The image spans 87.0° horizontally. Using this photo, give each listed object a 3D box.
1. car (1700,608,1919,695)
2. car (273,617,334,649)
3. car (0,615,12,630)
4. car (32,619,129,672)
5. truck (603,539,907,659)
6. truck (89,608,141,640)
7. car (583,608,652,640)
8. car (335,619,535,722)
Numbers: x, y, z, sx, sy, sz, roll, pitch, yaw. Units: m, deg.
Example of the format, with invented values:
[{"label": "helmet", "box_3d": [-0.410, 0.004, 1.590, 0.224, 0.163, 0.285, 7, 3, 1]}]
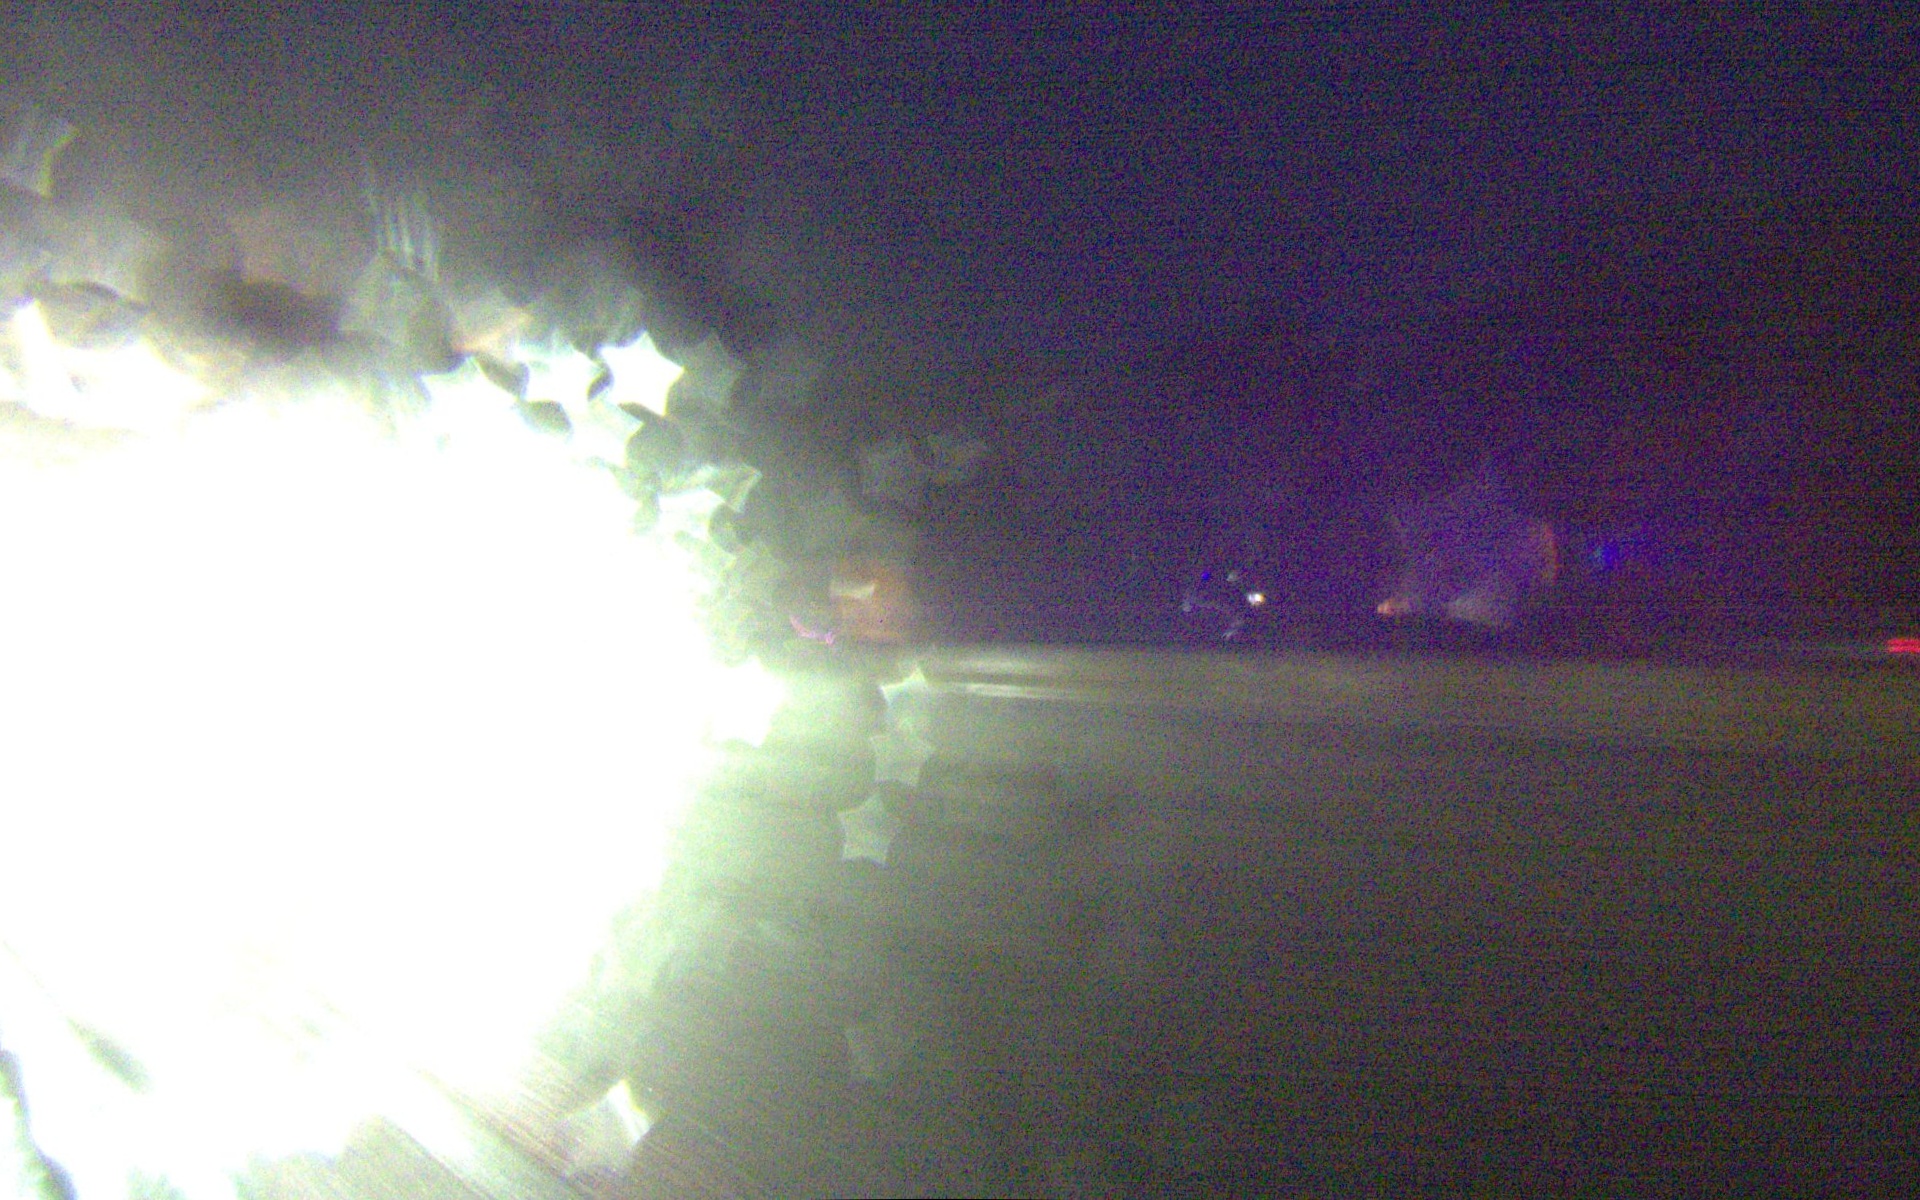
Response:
[{"label": "car", "box_3d": [18.028, 1.012, 20.803, 4.410, 1.611, 1.817, -1, 0, 41]}, {"label": "car", "box_3d": [-37.896, 1.882, 58.381, 4.506, 1.737, 1.814, -1, 0, 41]}, {"label": "car", "box_3d": [-113.452, 2.683, 119.669, 3.909, 1.799, 1.590, -1, 0, 42]}, {"label": "car", "box_3d": [-30.632, 1.550, 35.199, 4.913, 1.677, 1.935, -2, -1, 42]}, {"label": "truck", "box_3d": [-9.734, 0.095, 44.719, 17.482, 4.494, 3.172, -1, 0, 41]}, {"label": "truck", "box_3d": [-128.713, 3.596, 154.018, 17.592, 4.593, 3.374, -1, 0, 42]}, {"label": "car", "box_3d": [-20.026, 1.383, 59.105, 4.506, 1.737, 1.814, -1, 0, 41]}, {"label": "car", "box_3d": [-8.716, 1.056, 16.628, 4.247, 1.441, 1.638, -1, 0, 44]}]
